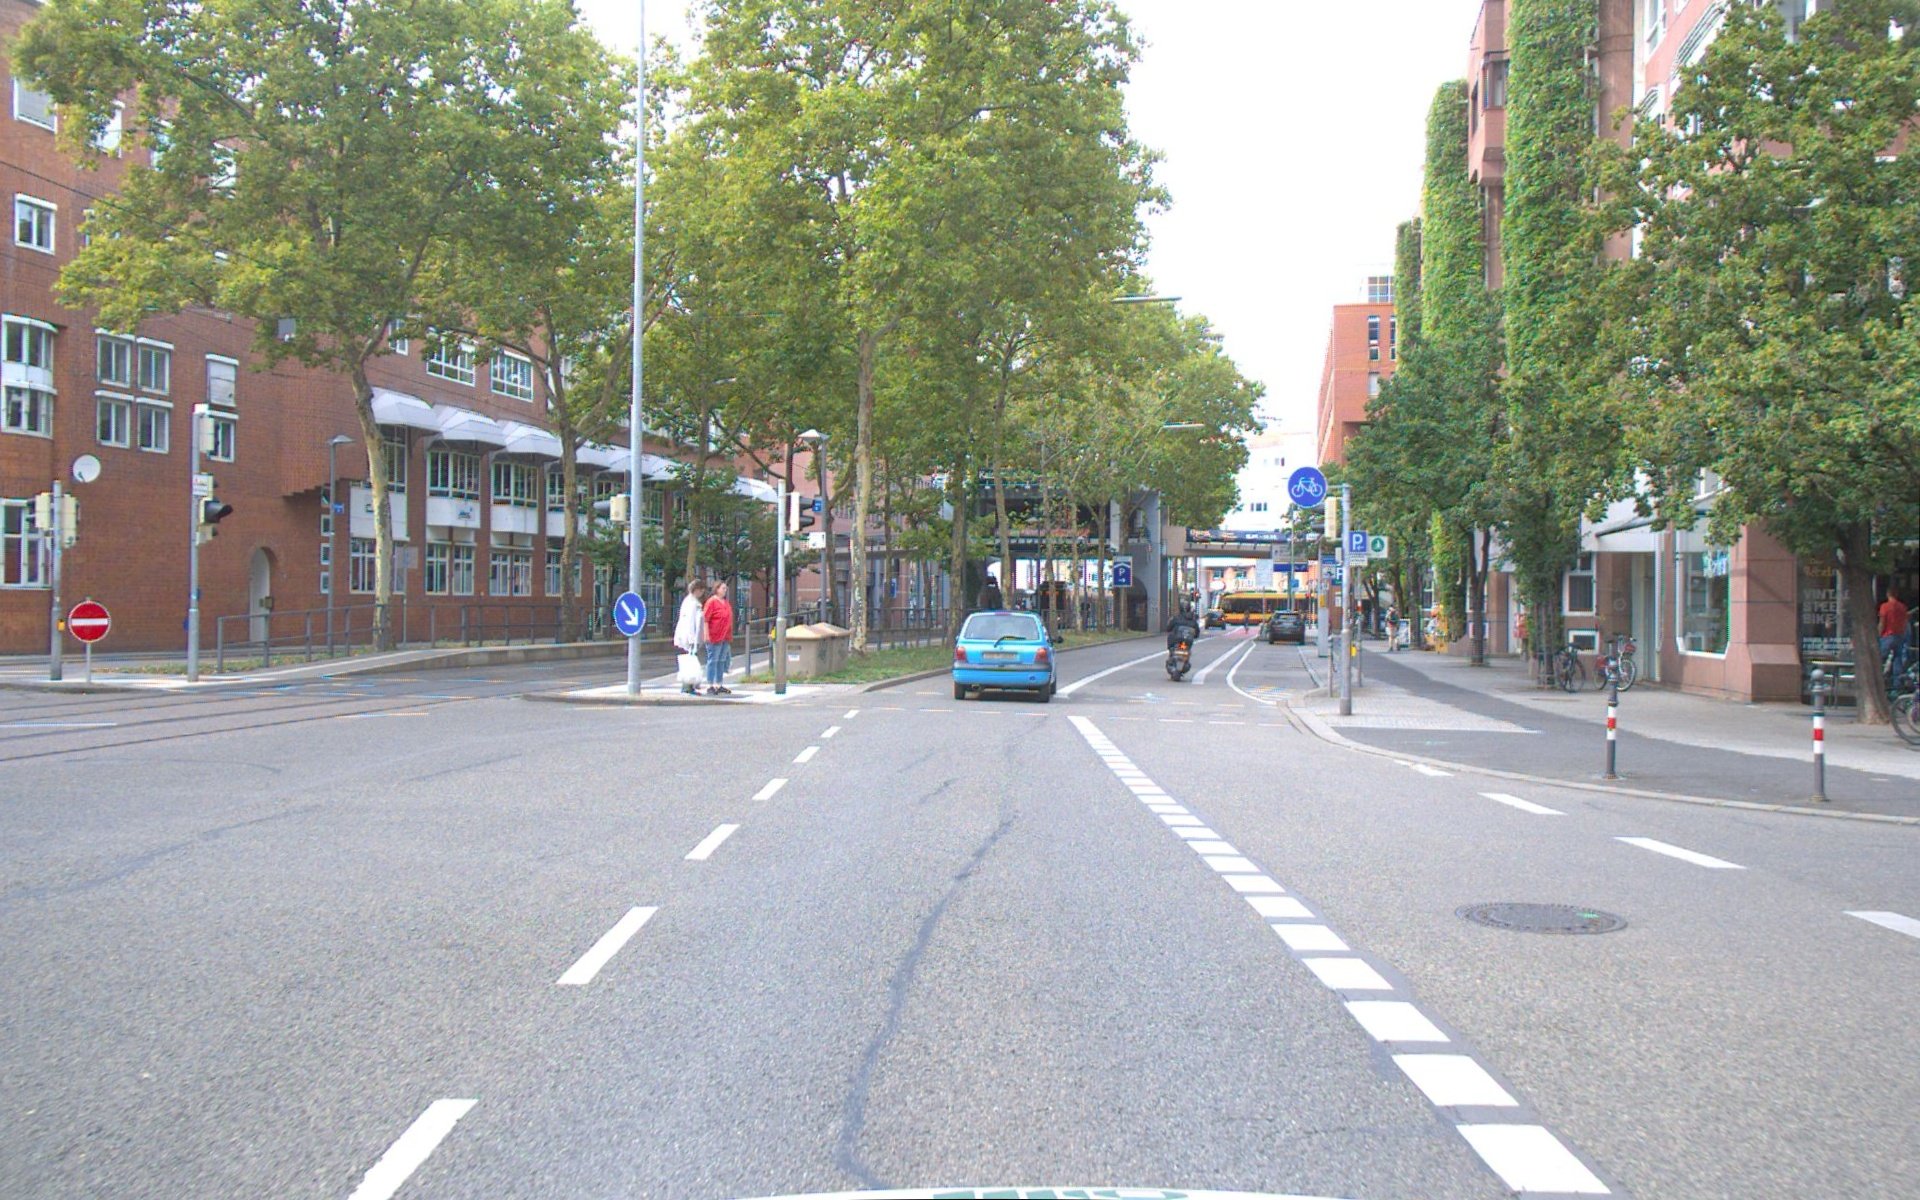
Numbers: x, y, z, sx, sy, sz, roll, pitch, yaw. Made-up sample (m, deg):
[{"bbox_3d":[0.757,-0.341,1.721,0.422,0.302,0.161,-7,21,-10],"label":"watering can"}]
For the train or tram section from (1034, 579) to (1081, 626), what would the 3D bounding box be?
[{"bbox_3d":[7.138,0.217,120.357,2.338,3.311,8.825,0,0,11],"label":"train or tram section"}]

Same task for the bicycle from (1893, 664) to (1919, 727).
[{"bbox_3d":[13.355,1.294,22.337,1.272,0.828,0.444,0,0,22],"label":"bicycle"}]

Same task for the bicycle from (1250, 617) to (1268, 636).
[{"bbox_3d":[17.185,1.525,94.969,0.552,1.026,2.008,0,0,-4],"label":"bicycle"}]

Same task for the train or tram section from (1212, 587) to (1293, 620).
[{"bbox_3d":[30.316,0.361,171.225,8.684,3.311,2.376,0,-1,-27],"label":"train or tram section"}]

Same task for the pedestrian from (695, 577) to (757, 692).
[{"bbox_3d":[-3.629,0.528,25.661,0.542,1.748,0.890,0,0,26],"label":"pedestrian"}]

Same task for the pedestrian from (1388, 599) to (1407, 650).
[{"bbox_3d":[16.556,0.928,62.631,0.633,1.891,0.783,0,0,10],"label":"pedestrian"}]

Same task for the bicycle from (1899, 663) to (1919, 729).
[{"bbox_3d":[13.662,1.305,22.699,1.272,0.883,0.454,-3,-1,22],"label":"bicycle"}]

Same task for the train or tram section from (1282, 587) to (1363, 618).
[{"bbox_3d":[38.137,0.264,174.127,8.190,3.311,2.388,0,0,-14],"label":"train or tram section"}]

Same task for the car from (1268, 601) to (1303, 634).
[{"bbox_3d":[16.309,0.858,82.815,1.662,1.629,4.003,0,0,12],"label":"car"}]

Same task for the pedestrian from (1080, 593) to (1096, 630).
[{"bbox_3d":[6.640,0.590,85.684,0.712,1.891,0.871,0,0,12],"label":"pedestrian"}]

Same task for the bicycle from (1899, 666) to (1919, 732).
[{"bbox_3d":[13.124,1.310,21.765,1.271,0.852,0.454,0,0,18],"label":"bicycle"}]

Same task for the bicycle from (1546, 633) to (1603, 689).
[{"bbox_3d":[11.978,1.183,32.272,0.604,1.026,1.736,0,0,6],"label":"bicycle"}]

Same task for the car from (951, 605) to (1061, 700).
[{"bbox_3d":[0.826,0.812,27.408,1.606,1.410,3.845,1,0,5],"label":"car"}]

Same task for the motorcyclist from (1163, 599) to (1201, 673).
[{"bbox_3d":[4.716,0.759,35.129,0.743,1.546,1.018,0,0,5],"label":"motorcyclist"}]

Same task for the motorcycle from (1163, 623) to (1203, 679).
[{"bbox_3d":[4.723,1.068,35.148,0.751,1.126,2.209,0,0,5],"label":"motorcycle"}]

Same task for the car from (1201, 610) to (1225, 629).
[{"bbox_3d":[22.244,1.685,145.546,1.846,1.652,4.003,0,0,12],"label":"car"}]

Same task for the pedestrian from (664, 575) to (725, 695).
[{"bbox_3d":[-3.962,0.515,24.731,0.541,1.748,0.891,0,0,17],"label":"pedestrian"}]

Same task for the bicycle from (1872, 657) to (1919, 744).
[{"bbox_3d":[12.102,1.252,20.635,0.604,1.026,1.736,0,0,5],"label":"bicycle"}]

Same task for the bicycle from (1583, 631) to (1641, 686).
[{"bbox_3d":[12.795,1.138,32.504,0.604,1.026,1.736,0,0,6],"label":"bicycle"}]

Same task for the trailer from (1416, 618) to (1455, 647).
[{"bbox_3d":[18.450,1.259,64.133,0.974,1.077,1.603,0,0,35],"label":"trailer"}]
